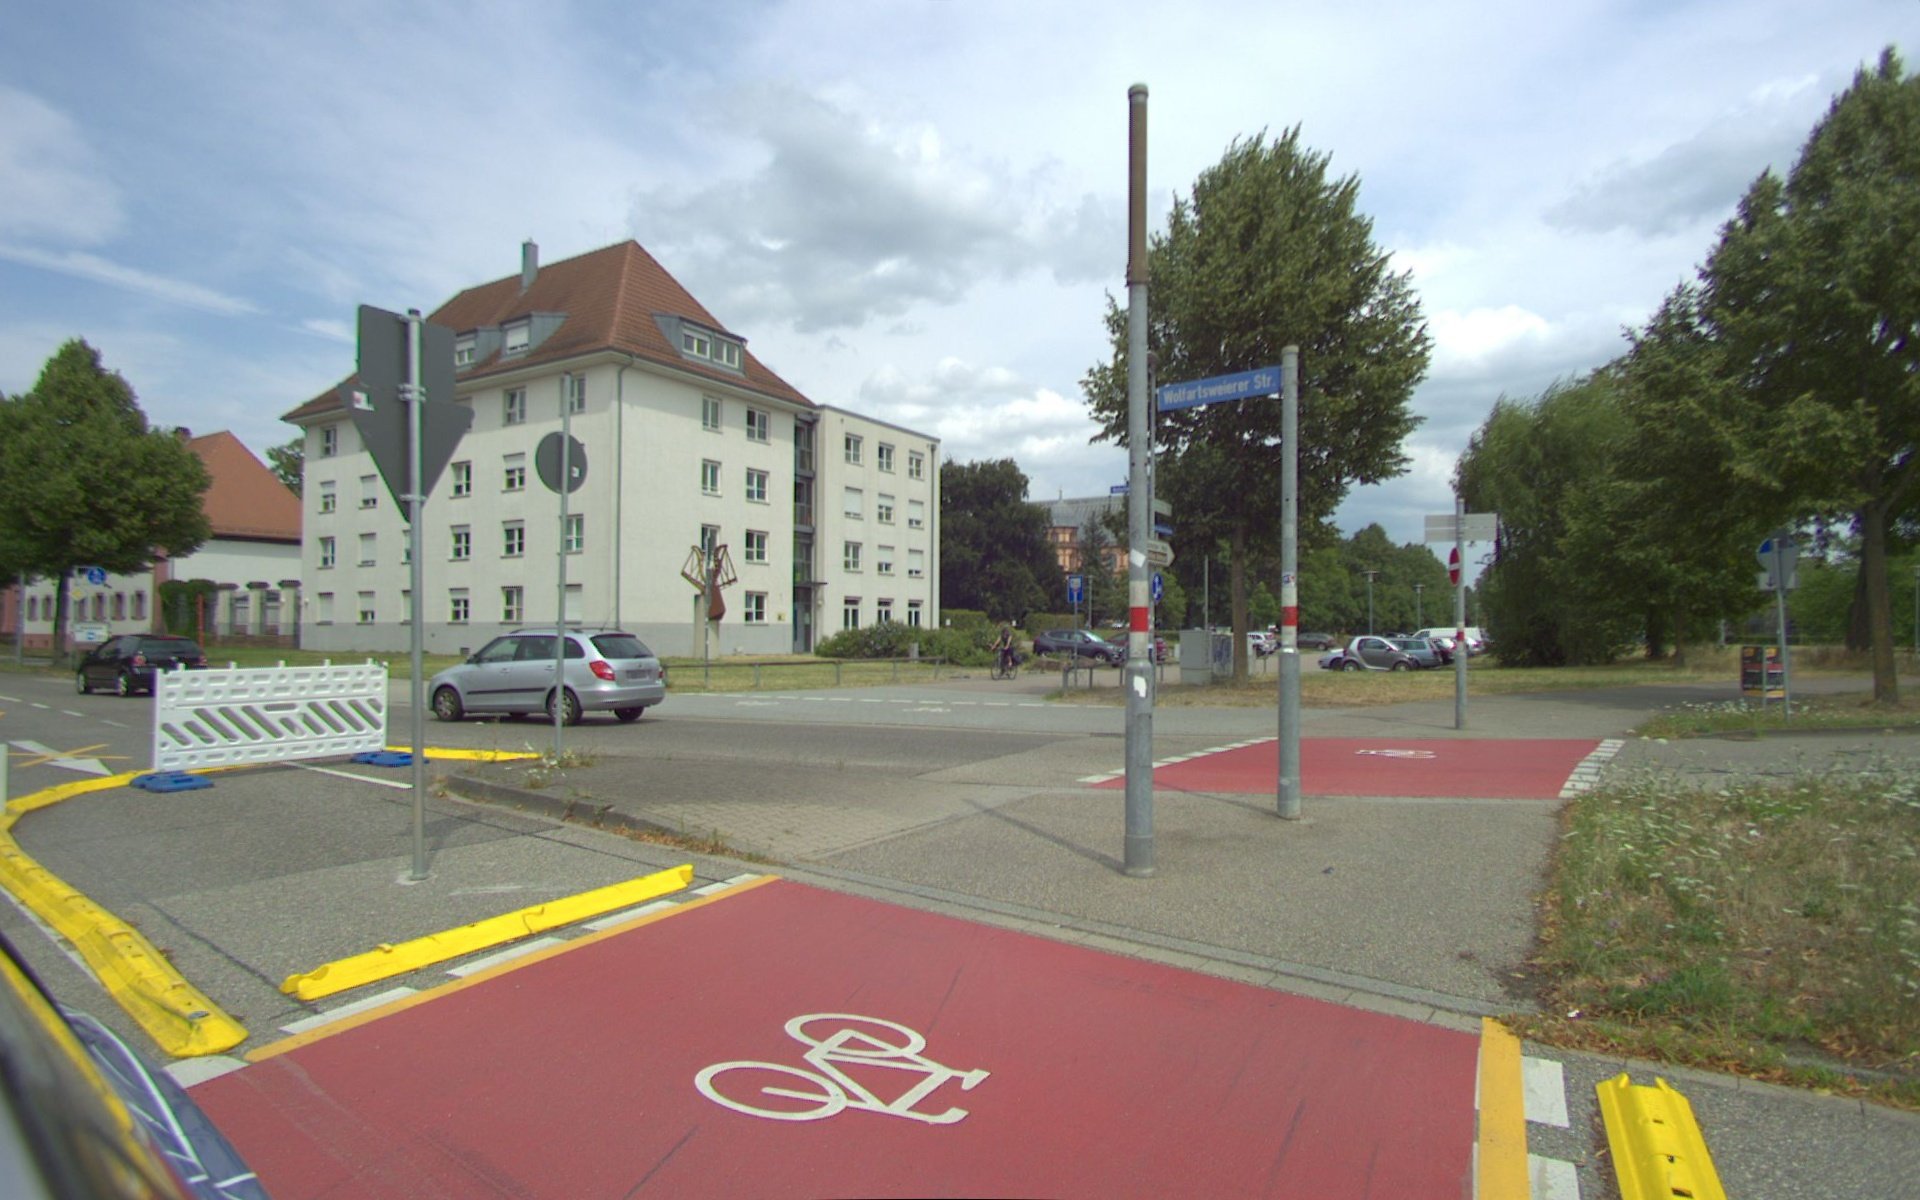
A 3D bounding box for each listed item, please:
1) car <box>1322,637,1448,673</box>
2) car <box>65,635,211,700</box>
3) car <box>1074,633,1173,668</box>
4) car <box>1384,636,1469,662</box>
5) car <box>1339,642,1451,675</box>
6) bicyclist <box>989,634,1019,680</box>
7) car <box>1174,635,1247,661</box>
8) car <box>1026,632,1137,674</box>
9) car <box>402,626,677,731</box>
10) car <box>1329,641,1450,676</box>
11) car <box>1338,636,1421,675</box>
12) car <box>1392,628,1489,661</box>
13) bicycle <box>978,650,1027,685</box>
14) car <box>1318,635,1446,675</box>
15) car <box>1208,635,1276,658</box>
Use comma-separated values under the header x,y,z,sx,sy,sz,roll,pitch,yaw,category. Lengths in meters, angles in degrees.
x,y,z,sx,sy,sz,roll,pitch,yaw,category
18.588,2.380,44.388,4.873,1.482,1.813,-1,-2,32,car
-19.612,1.593,24.121,3.711,1.426,1.613,-2,-4,33,car
7.976,2.436,49.456,4.394,1.610,1.978,-1,-2,33,car
27.263,2.837,59.185,4.298,1.482,1.813,-1,-2,32,car
20.805,2.759,48.455,4.694,1.482,1.813,-1,-2,32,car
1.395,1.818,32.265,0.601,1.434,0.793,-2,-3,39,bicyclist
15.136,2.890,61.232,3.992,1.479,1.798,-1,-2,31,car
5.346,2.294,44.687,4.484,1.778,1.979,-1,-2,31,car
-6.791,1.206,16.338,4.189,1.530,1.617,-1,-2,22,car
19.701,2.643,46.487,4.873,1.482,1.813,-1,-2,32,car
16.400,2.170,39.575,2.900,1.434,1.471,-3,-4,25,car
31.189,2.878,65.697,5.548,2.072,2.178,-1,-2,30,car
1.358,2.135,32.208,0.601,1.054,1.805,-2,-3,38,bicycle
17.443,2.272,41.879,4.686,1.482,1.815,-3,-3,29,car
18.536,3.032,66.626,3.992,1.479,1.798,-1,-2,31,car
